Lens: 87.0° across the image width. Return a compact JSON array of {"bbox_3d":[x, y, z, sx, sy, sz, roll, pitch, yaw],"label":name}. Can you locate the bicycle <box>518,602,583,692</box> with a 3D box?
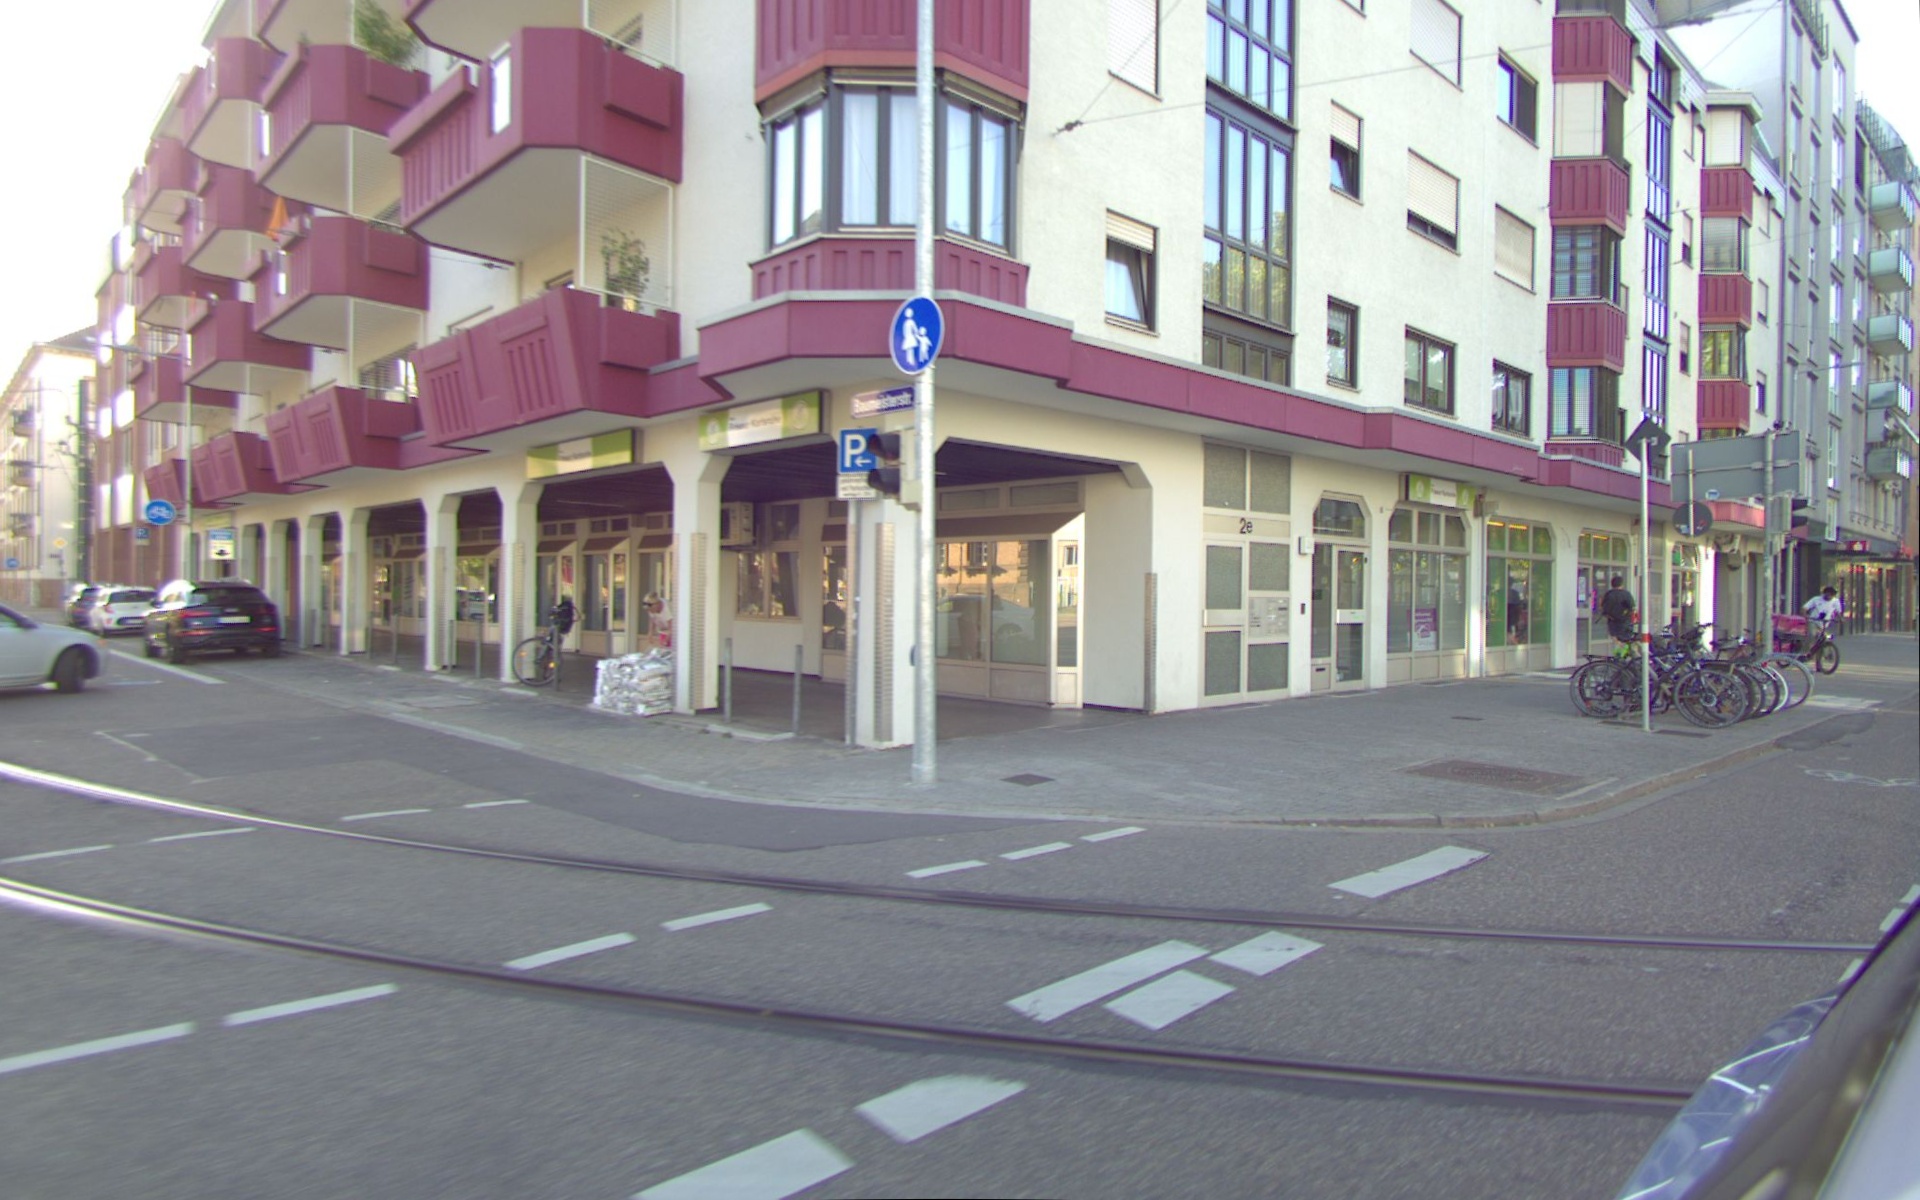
[{"bbox_3d":[-6.109,0.666,15.166,0.603,1.214,1.801,1,1,-12],"label":"bicycle"}]

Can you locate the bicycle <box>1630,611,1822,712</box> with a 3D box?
[{"bbox_3d":[10.159,0.773,13.489,0.581,1.214,1.979,1,0,-43],"label":"bicycle"}]

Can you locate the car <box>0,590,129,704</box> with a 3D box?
[{"bbox_3d":[-13.404,0.608,12.725,1.820,1.474,4.898,1,0,1],"label":"car"}]

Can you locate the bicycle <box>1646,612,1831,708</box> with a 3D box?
[{"bbox_3d":[10.631,0.779,13.879,0.562,1.185,1.943,1,0,-42],"label":"bicycle"}]

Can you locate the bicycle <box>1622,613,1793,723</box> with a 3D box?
[{"bbox_3d":[9.156,0.791,12.458,0.486,1.214,1.628,1,0,-35],"label":"bicycle"}]

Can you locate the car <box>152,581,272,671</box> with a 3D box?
[{"bbox_3d":[-15.809,0.503,21.322,1.708,1.705,3.901,0,-1,-41],"label":"car"}]

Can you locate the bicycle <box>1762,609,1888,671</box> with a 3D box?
[{"bbox_3d":[18.521,0.810,21.764,0.949,1.198,2.588,1,0,13],"label":"bicycle"}]

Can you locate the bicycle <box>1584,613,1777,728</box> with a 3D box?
[{"bbox_3d":[8.532,0.786,12.068,0.535,1.214,1.808,0,1,-35],"label":"bicycle"}]

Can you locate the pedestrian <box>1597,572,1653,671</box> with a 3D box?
[{"bbox_3d":[13.025,0.407,19.826,0.787,1.881,0.724,1,0,-40],"label":"pedestrian"}]

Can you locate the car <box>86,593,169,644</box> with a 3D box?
[{"bbox_3d":[-25.891,0.541,31.432,1.880,1.489,3.992,0,-1,-41],"label":"car"}]

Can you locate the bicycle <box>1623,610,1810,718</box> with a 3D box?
[{"bbox_3d":[9.556,0.768,12.856,0.487,1.236,1.837,1,0,-36],"label":"bicycle"}]

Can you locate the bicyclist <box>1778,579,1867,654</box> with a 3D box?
[{"bbox_3d":[18.515,0.346,21.761,1.044,1.559,1.075,1,0,13],"label":"bicyclist"}]

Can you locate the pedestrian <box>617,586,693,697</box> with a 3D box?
[{"bbox_3d":[-3.902,0.516,12.949,0.656,1.367,0.651,1,0,23],"label":"pedestrian"}]

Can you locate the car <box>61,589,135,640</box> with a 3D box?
[{"bbox_3d":[-29.866,0.482,35.055,1.858,1.638,3.992,0,-1,-41],"label":"car"}]
